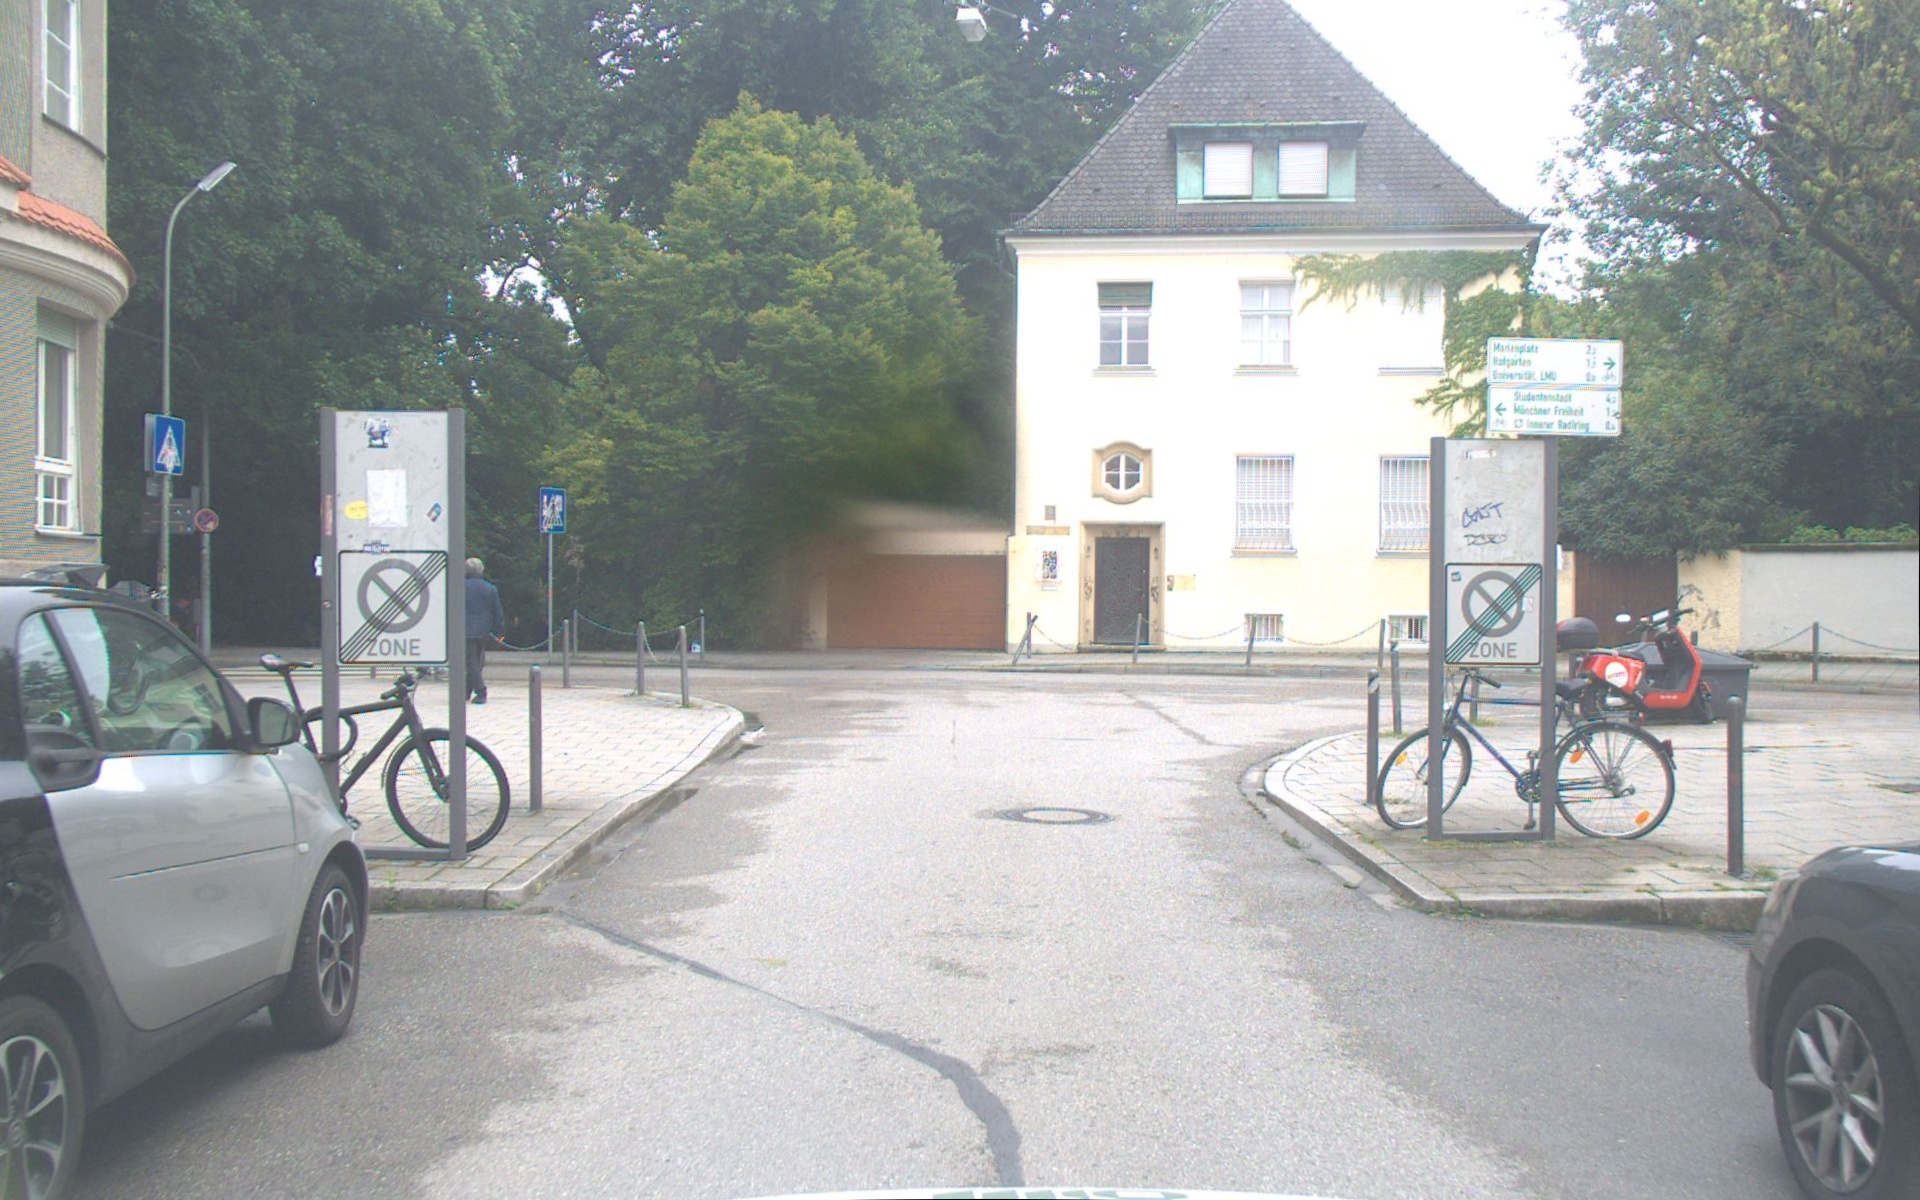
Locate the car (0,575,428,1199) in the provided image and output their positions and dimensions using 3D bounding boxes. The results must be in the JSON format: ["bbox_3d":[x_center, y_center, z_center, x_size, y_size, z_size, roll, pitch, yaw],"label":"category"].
[{"bbox_3d":[-2.809,0.702,4.651,1.669,1.541,2.911,0,0,0],"label":"car"}]

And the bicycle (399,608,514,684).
[{"bbox_3d":[-7.299,0.649,23.933,1.968,1.028,0.510,1,0,36],"label":"bicycle"}]

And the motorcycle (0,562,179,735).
[{"bbox_3d":[-8.007,0.403,15.160,0.721,1.466,2.146,1,0,-2],"label":"motorcycle"}]

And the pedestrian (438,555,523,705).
[{"bbox_3d":[-5.483,0.338,18.912,0.801,1.670,0.720,1,0,-27],"label":"pedestrian"}]

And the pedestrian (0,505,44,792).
[{"bbox_3d":[-6.489,0.300,10.462,0.821,1.818,0.936,1,0,2],"label":"pedestrian"}]

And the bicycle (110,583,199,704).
[{"bbox_3d":[-9.057,0.455,18.562,0.728,1.278,1.906,1,0,-31],"label":"bicycle"}]

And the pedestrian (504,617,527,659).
[{"bbox_3d":[-12.748,1.091,47.424,0.461,1.176,0.497,1,0,5],"label":"pedestrian"}]

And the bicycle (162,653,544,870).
[{"bbox_3d":[-3.149,0.829,8.668,1.766,1.032,0.540,2,0,-2],"label":"bicycle"}]

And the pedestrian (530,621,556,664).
[{"bbox_3d":[-11.926,1.212,47.302,0.573,1.189,0.497,1,0,5],"label":"pedestrian"}]

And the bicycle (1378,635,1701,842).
[{"bbox_3d":[3.465,0.788,9.911,1.756,1.104,0.665,0,2,27],"label":"bicycle"}]

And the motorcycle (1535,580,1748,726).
[{"bbox_3d":[6.889,0.505,16.704,2.050,1.379,0.811,-1,1,-24],"label":"motorcycle"}]

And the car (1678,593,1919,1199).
[{"bbox_3d":[3.077,0.758,2.665,1.659,1.497,4.609,1,0,-3],"label":"car"}]
